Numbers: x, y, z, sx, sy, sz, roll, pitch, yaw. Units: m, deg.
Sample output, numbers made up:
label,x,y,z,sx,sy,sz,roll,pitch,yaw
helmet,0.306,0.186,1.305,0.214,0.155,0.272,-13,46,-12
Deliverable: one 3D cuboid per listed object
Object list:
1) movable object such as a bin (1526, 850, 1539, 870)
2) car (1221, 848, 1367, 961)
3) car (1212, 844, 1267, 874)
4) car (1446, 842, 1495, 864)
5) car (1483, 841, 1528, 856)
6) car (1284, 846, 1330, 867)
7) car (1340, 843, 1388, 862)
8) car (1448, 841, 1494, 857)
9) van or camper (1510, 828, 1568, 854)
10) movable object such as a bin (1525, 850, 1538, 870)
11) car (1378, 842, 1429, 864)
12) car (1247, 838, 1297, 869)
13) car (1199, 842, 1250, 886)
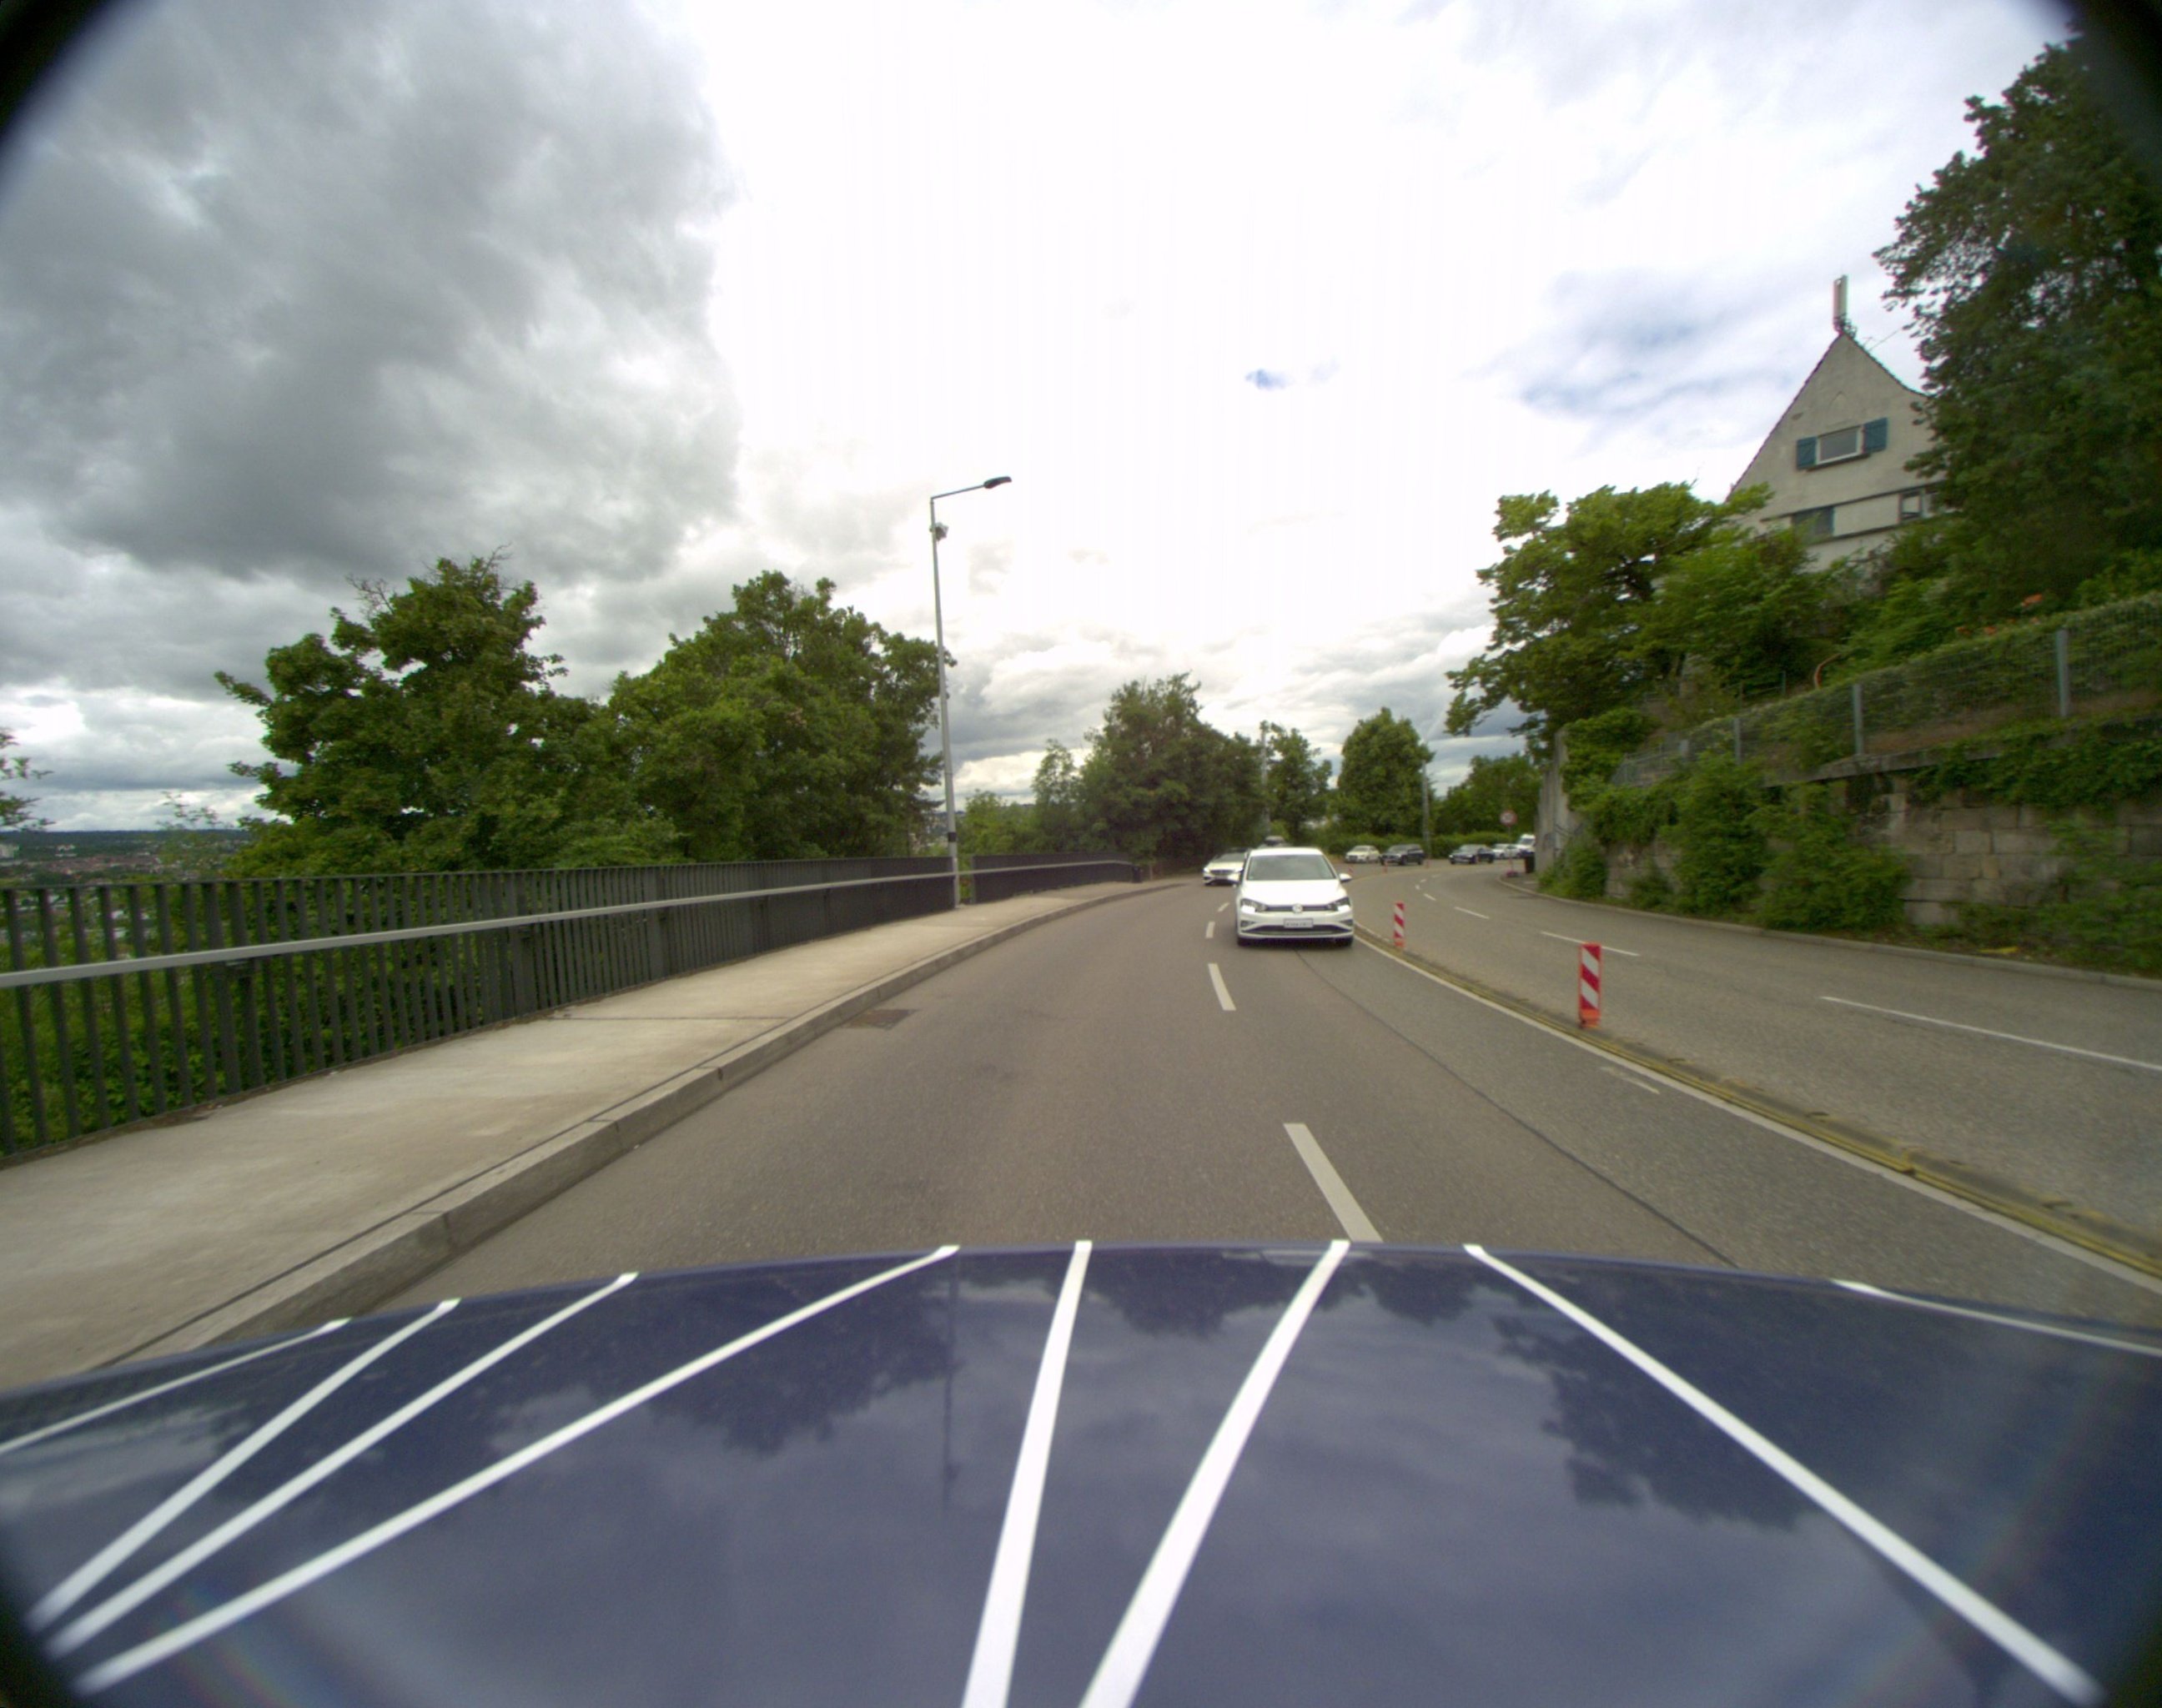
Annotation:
label,x,y,z,sx,sy,sz,roll,pitch,yaw
movable object such as a bin,22.285,0.304,37.508,0.526,0.957,0.401,0,1,34
car,3.469,0.725,13.144,1.824,1.571,4.358,-1,1,8
car,9.216,0.275,44.052,1.693,1.514,3.925,6,3,33
car,31.370,-0.093,61.184,4.148,1.485,1.920,-4,2,-37
car,41.524,-0.536,74.364,4.104,1.425,1.872,-1,1,-26
car,16.141,0.139,54.085,1.929,1.425,4.008,0,1,35
car,23.111,-0.126,62.007,4.008,1.425,1.929,-1,2,-40
car,36.623,-0.483,71.275,4.105,1.425,1.930,-1,1,-30
van or camper,46.609,-1.333,77.380,5.427,2.613,2.263,-1,1,-22
movable object such as a bin,21.931,0.284,37.001,0.526,0.957,0.460,0,1,34
car,24.801,-0.079,58.320,4.149,1.485,1.897,-3,2,-39
car,12.339,-0.093,48.830,1.694,1.822,4.412,3,3,33
car,6.297,0.392,33.181,1.997,1.708,4.002,-1,2,12
